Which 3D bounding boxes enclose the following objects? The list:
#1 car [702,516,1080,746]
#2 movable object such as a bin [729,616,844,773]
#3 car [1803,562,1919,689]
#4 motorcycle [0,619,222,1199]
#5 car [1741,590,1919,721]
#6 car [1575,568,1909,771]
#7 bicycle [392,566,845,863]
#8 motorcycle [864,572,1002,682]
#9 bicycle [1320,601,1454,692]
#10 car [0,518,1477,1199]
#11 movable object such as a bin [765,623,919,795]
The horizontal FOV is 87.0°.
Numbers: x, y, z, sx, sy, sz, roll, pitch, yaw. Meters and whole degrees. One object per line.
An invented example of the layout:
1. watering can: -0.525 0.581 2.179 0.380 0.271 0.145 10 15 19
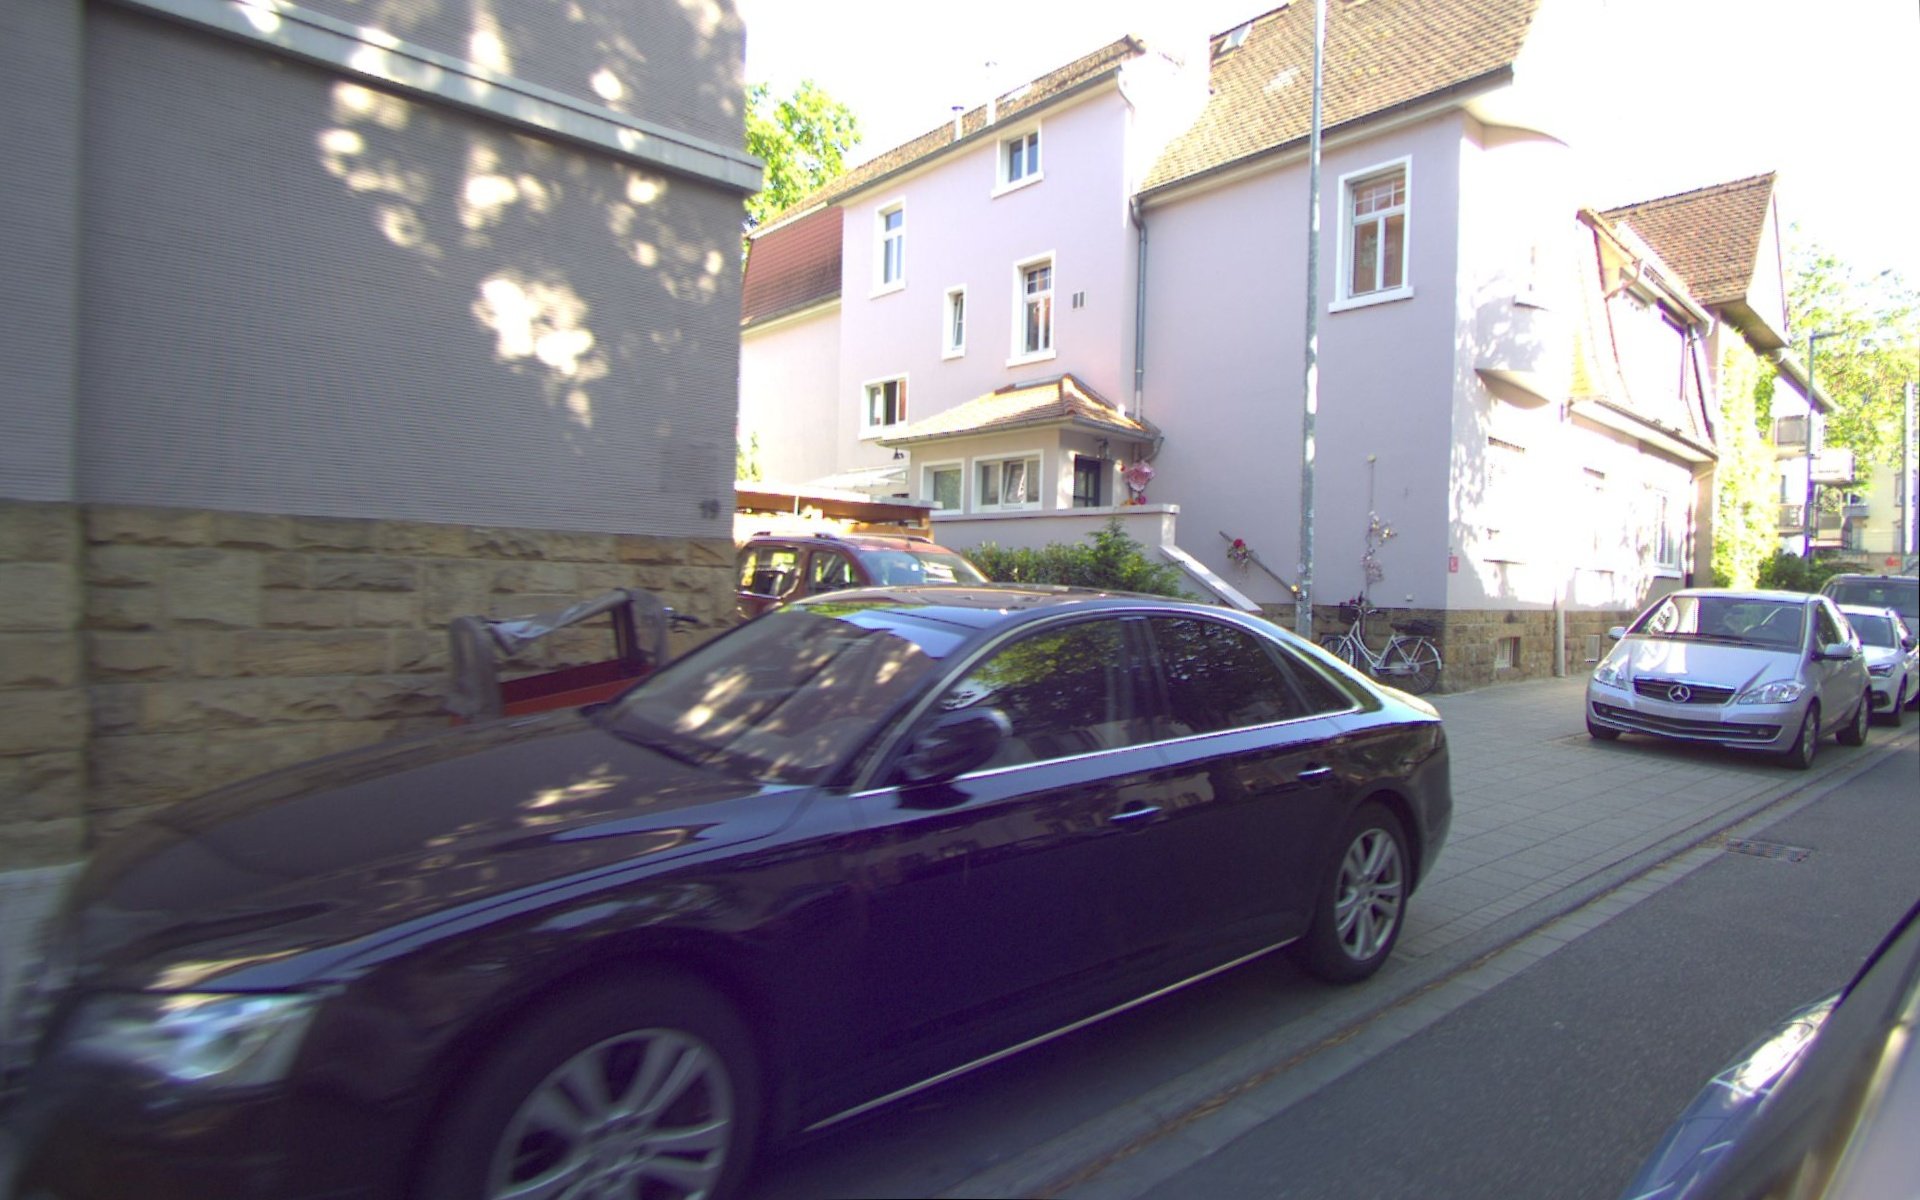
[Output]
1. car: -0.899 0.152 10.328 1.734 1.865 4.148 -1 3 -40
2. movable object such as a bin: -1.273 0.658 7.425 0.607 1.052 0.569 0 2 -42
3. car: 16.564 0.405 17.731 4.697 1.939 1.870 0 3 -40
4. motorcycle: -2.289 0.706 1.399 0.904 1.356 2.199 0 -1 0
5. car: 12.257 0.647 13.910 4.363 1.475 1.681 0 2 -43
6. car: 8.130 0.563 10.409 3.928 1.619 1.794 0 4 -39
7. bicycle: -1.892 0.519 5.808 2.211 1.354 1.084 0 2 -41
8. motorcycle: -0.343 0.343 14.792 0.784 1.295 2.142 -1 6 37
9. bicycle: 5.708 0.593 13.616 0.389 1.114 1.638 0 1 -42
10. car: -0.213 0.593 3.491 4.525 1.511 1.859 0 3 -39
11. movable object such as a bin: -0.817 0.711 6.997 0.814 1.052 0.648 0 2 -42
